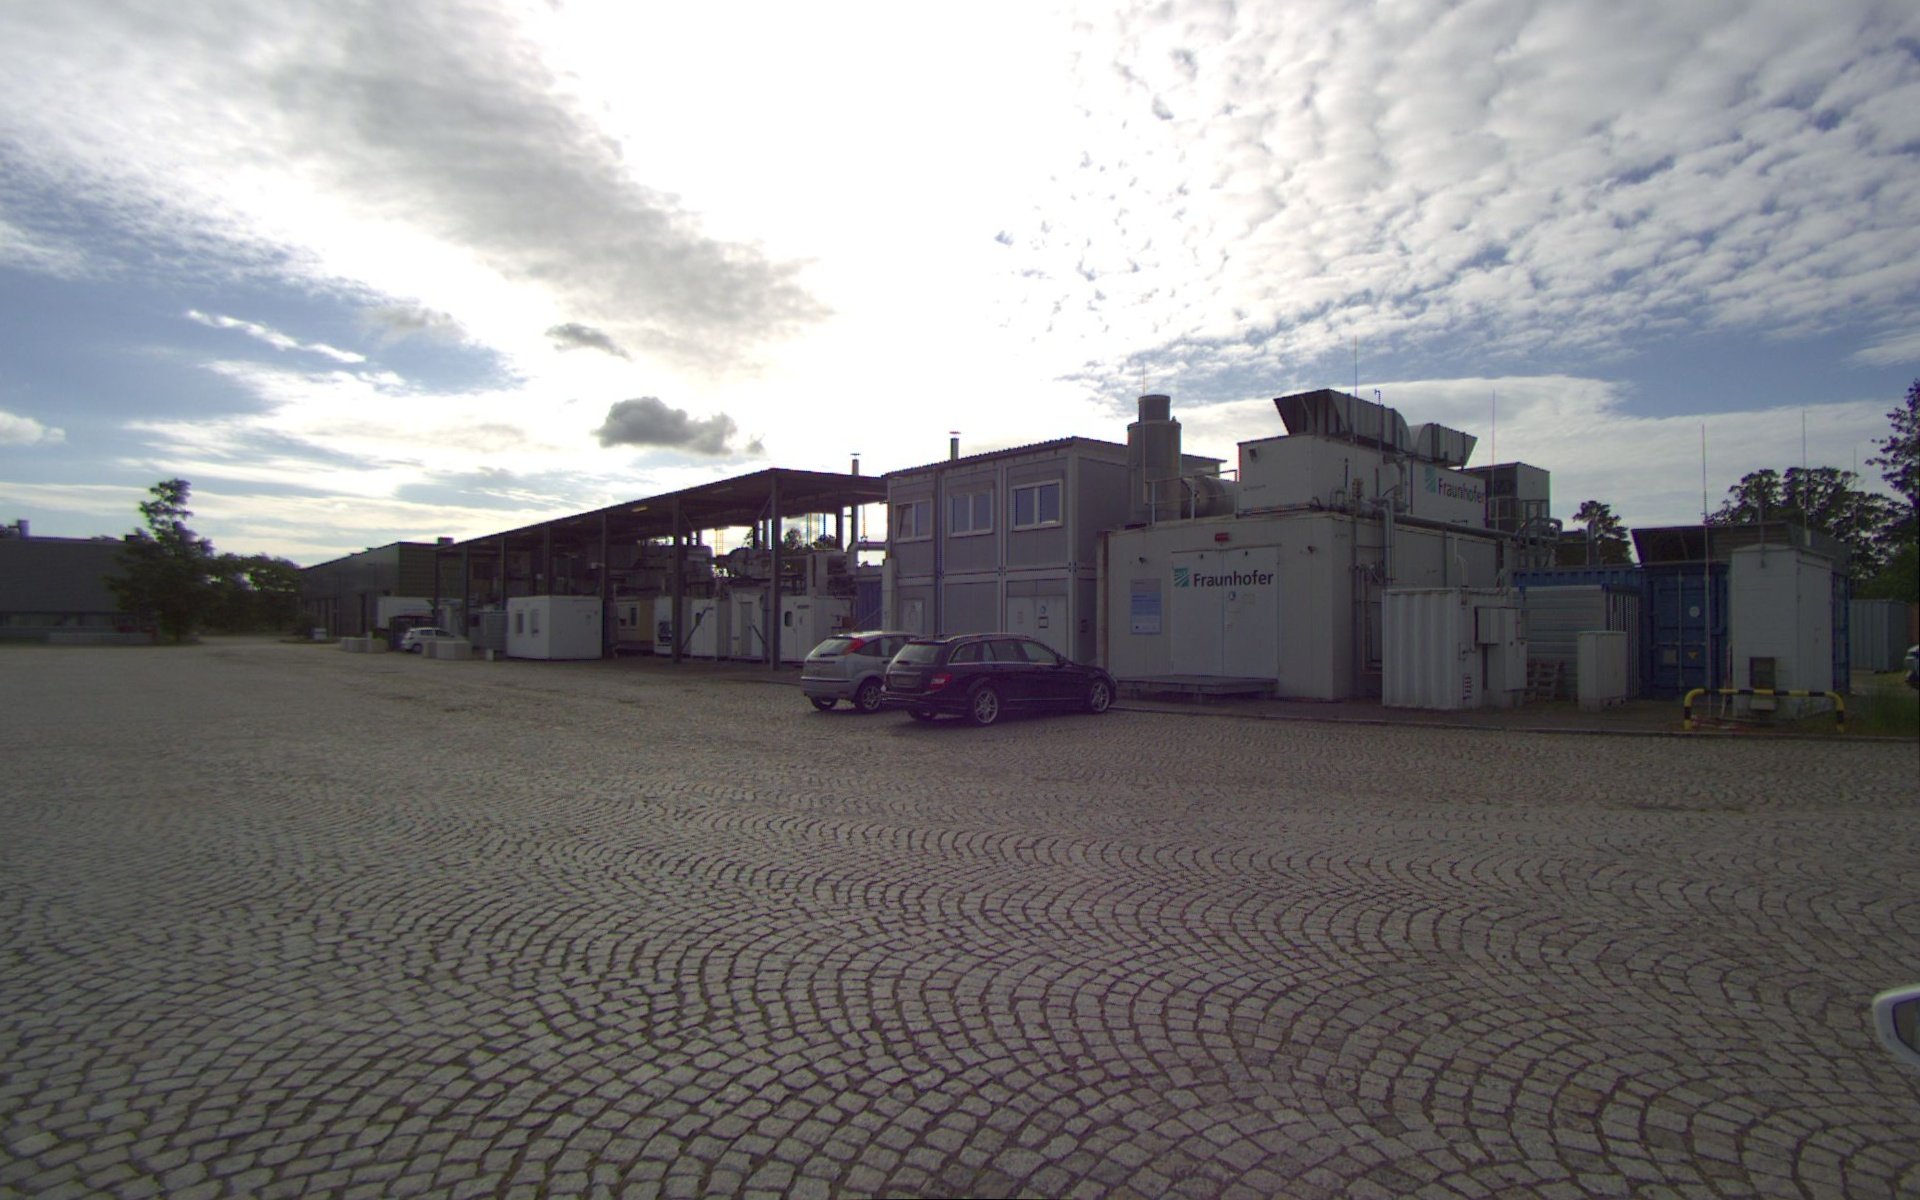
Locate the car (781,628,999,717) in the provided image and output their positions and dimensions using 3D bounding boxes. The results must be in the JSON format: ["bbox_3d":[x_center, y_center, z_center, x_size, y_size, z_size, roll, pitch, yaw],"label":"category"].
[{"bbox_3d":[-1.299,1.333,19.824,4.018,1.495,1.888,0,-1,-43],"label":"car"}]

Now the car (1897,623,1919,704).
[{"bbox_3d":[21.161,1.237,19.209,1.982,1.620,4.500,1,-2,-38],"label":"car"}]

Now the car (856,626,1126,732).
[{"bbox_3d":[0.626,1.247,17.281,4.494,1.472,2.018,-1,-1,-42],"label":"car"}]

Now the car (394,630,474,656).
[{"bbox_3d":[-32.157,2.620,61.447,3.971,1.512,1.975,2,-3,-43],"label":"car"}]
